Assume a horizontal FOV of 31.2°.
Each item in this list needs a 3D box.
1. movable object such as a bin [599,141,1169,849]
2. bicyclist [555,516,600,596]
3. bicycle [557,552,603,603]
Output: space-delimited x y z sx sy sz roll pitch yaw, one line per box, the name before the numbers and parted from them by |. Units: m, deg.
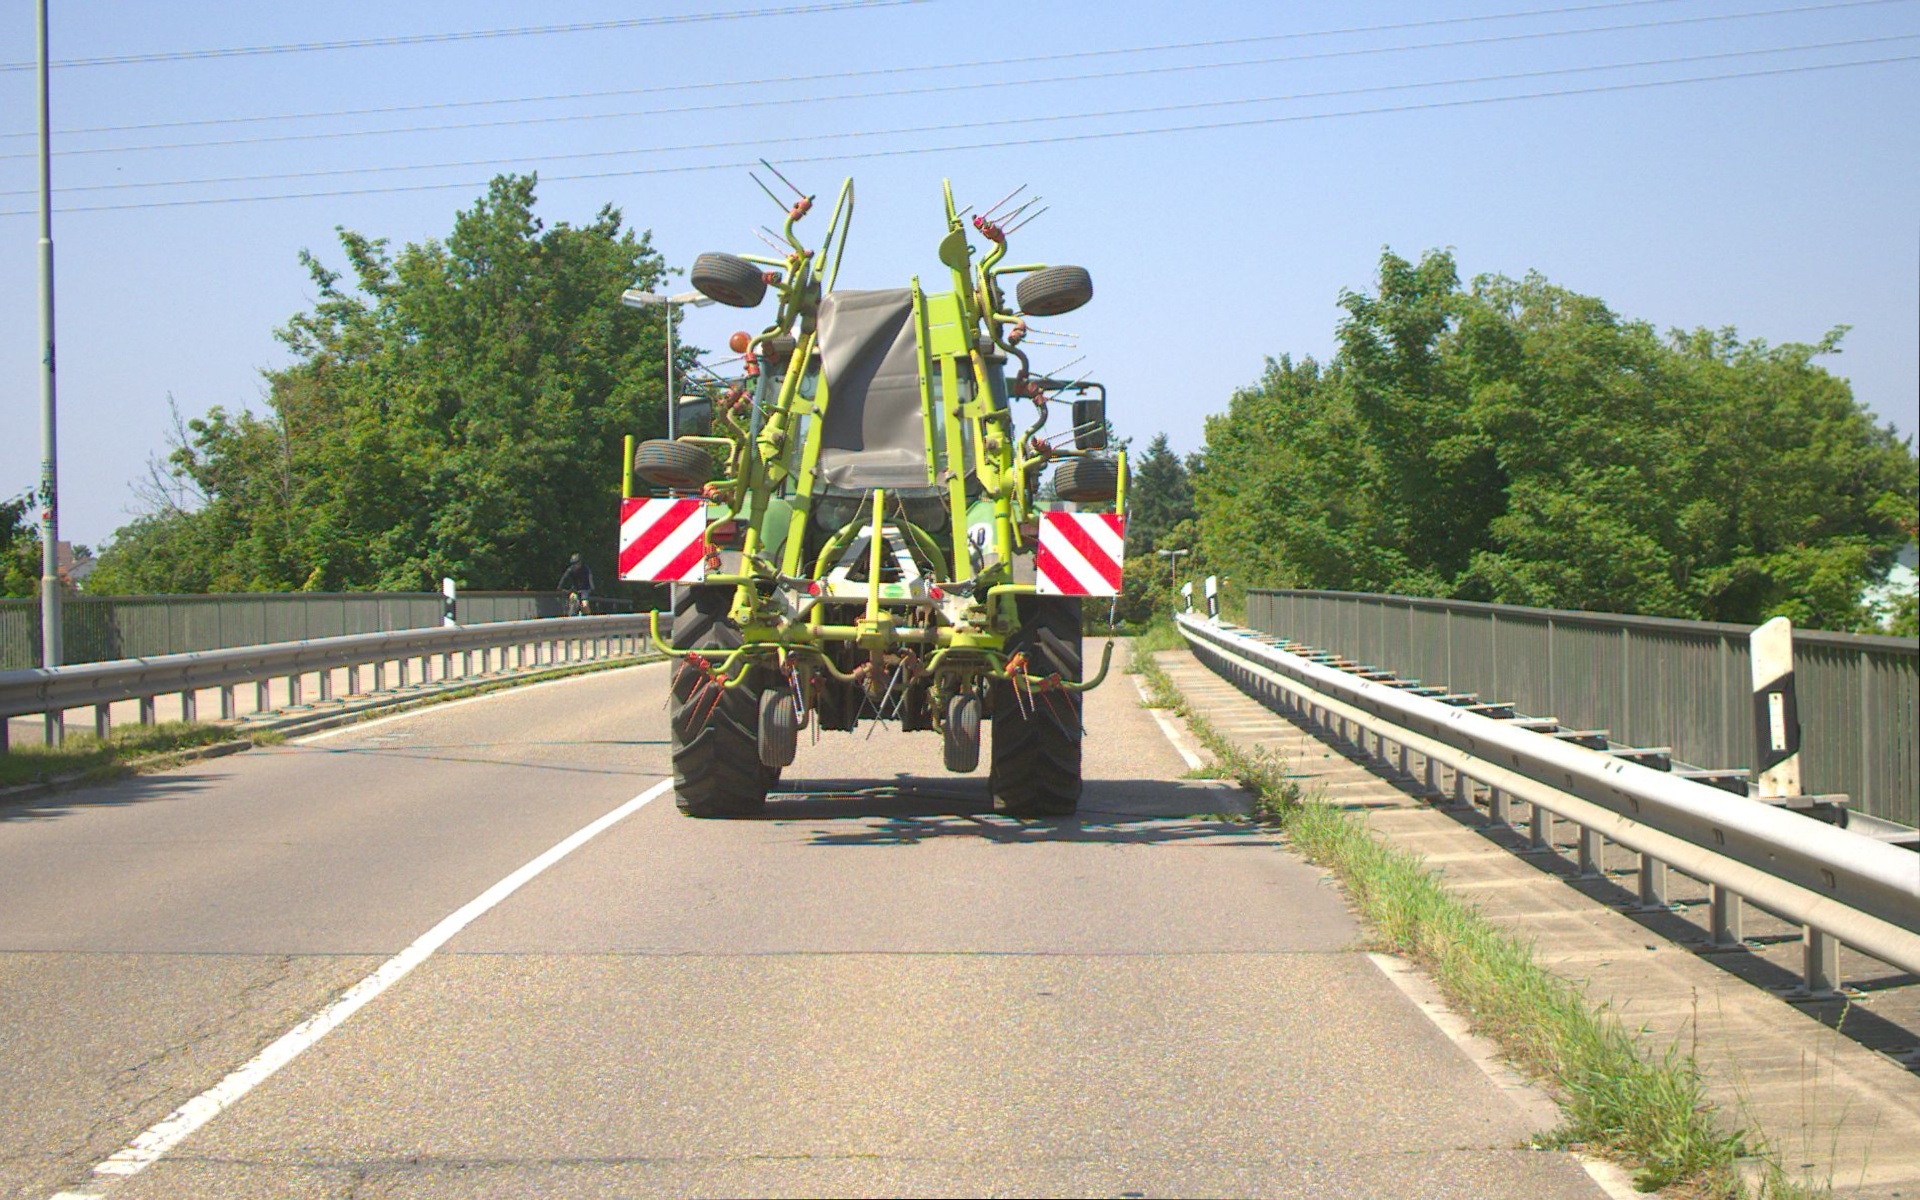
movable object such as a bin | -0.435 -0.588 19.553 2.755 3.432 5.671 0 1 -1
bicyclist | -7.885 -0.916 70.881 0.765 1.628 0.895 -2 1 1
bicycle | -7.831 -0.464 70.939 0.677 0.998 2.119 -2 1 0
